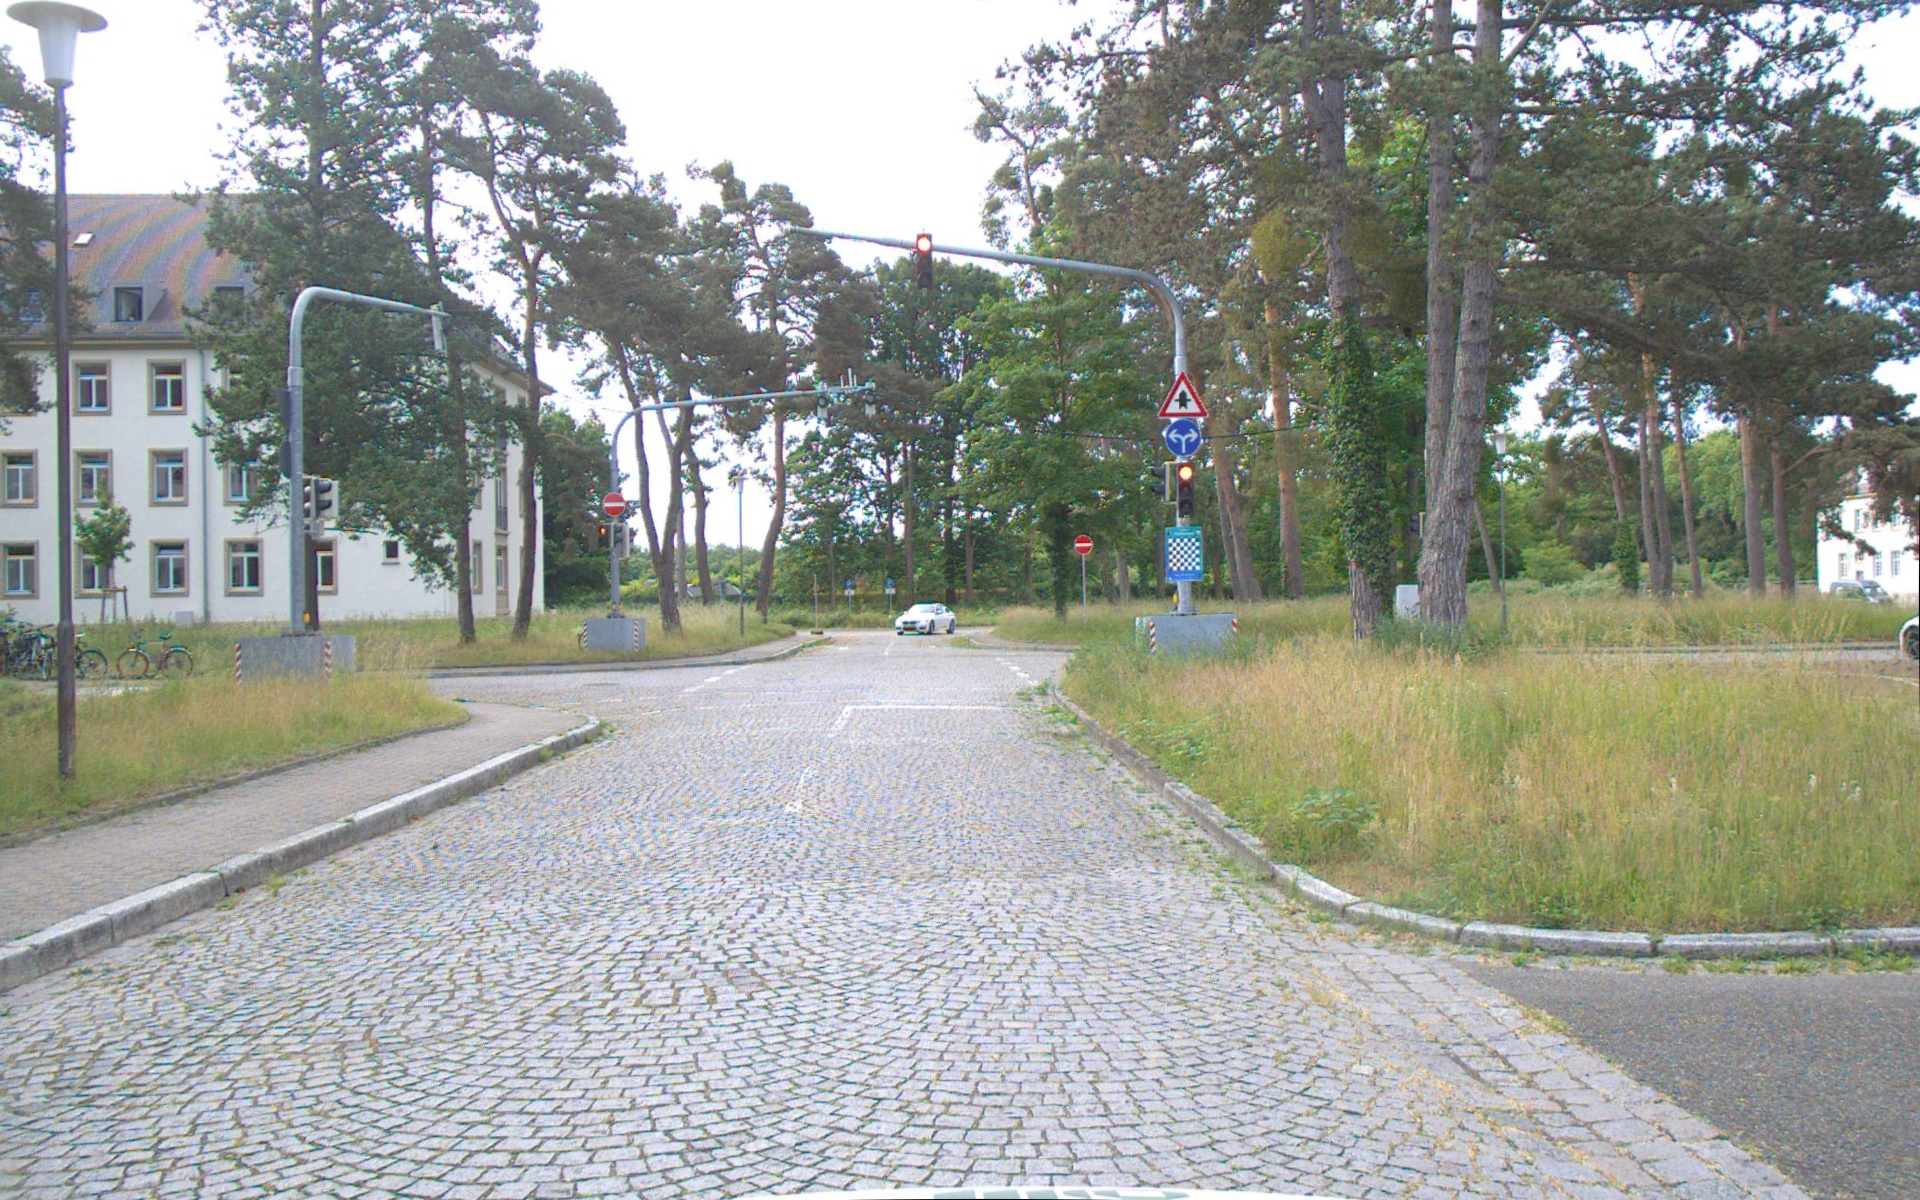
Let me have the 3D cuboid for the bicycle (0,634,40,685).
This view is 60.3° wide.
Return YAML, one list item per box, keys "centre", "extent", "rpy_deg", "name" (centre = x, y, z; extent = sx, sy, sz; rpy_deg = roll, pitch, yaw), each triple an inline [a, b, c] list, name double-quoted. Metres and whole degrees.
- centre: [-21.559, 1.349, 37.464]
  extent: [0.504, 1.098, 1.585]
  rpy_deg: [-1, 0, 1]
  name: "bicycle"

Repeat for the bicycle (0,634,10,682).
- centre: [-22.253, 1.342, 37.529]
  extent: [0.504, 1.098, 1.585]
  rpy_deg: [-1, 0, -1]
  name: "bicycle"

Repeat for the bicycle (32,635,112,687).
- centre: [-19.459, 1.331, 36.252]
  extent: [1.435, 1.098, 0.516]
  rpy_deg: [-1, 0, -4]
  name: "bicycle"

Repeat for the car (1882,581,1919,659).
- centre: [19.965, 0.339, 31.627]
  extent: [1.812, 1.513, 4.604]
  rpy_deg: [0, -3, -4]
  name: "car"

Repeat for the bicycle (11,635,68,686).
- centre: [-20.897, 1.356, 37.578]
  extent: [0.504, 1.098, 1.584]
  rpy_deg: [-1, 0, -4]
  name: "bicycle"

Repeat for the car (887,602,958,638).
- centre: [-1.761, 0.933, 79.279]
  extent: [1.737, 1.463, 4.218]
  rpy_deg: [-4, 0, 23]
  name: "car"

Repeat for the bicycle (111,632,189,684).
- centre: [-17.859, 1.273, 36.483]
  extent: [1.435, 1.084, 0.516]
  rpy_deg: [-1, 0, -4]
  name: "bicycle"
